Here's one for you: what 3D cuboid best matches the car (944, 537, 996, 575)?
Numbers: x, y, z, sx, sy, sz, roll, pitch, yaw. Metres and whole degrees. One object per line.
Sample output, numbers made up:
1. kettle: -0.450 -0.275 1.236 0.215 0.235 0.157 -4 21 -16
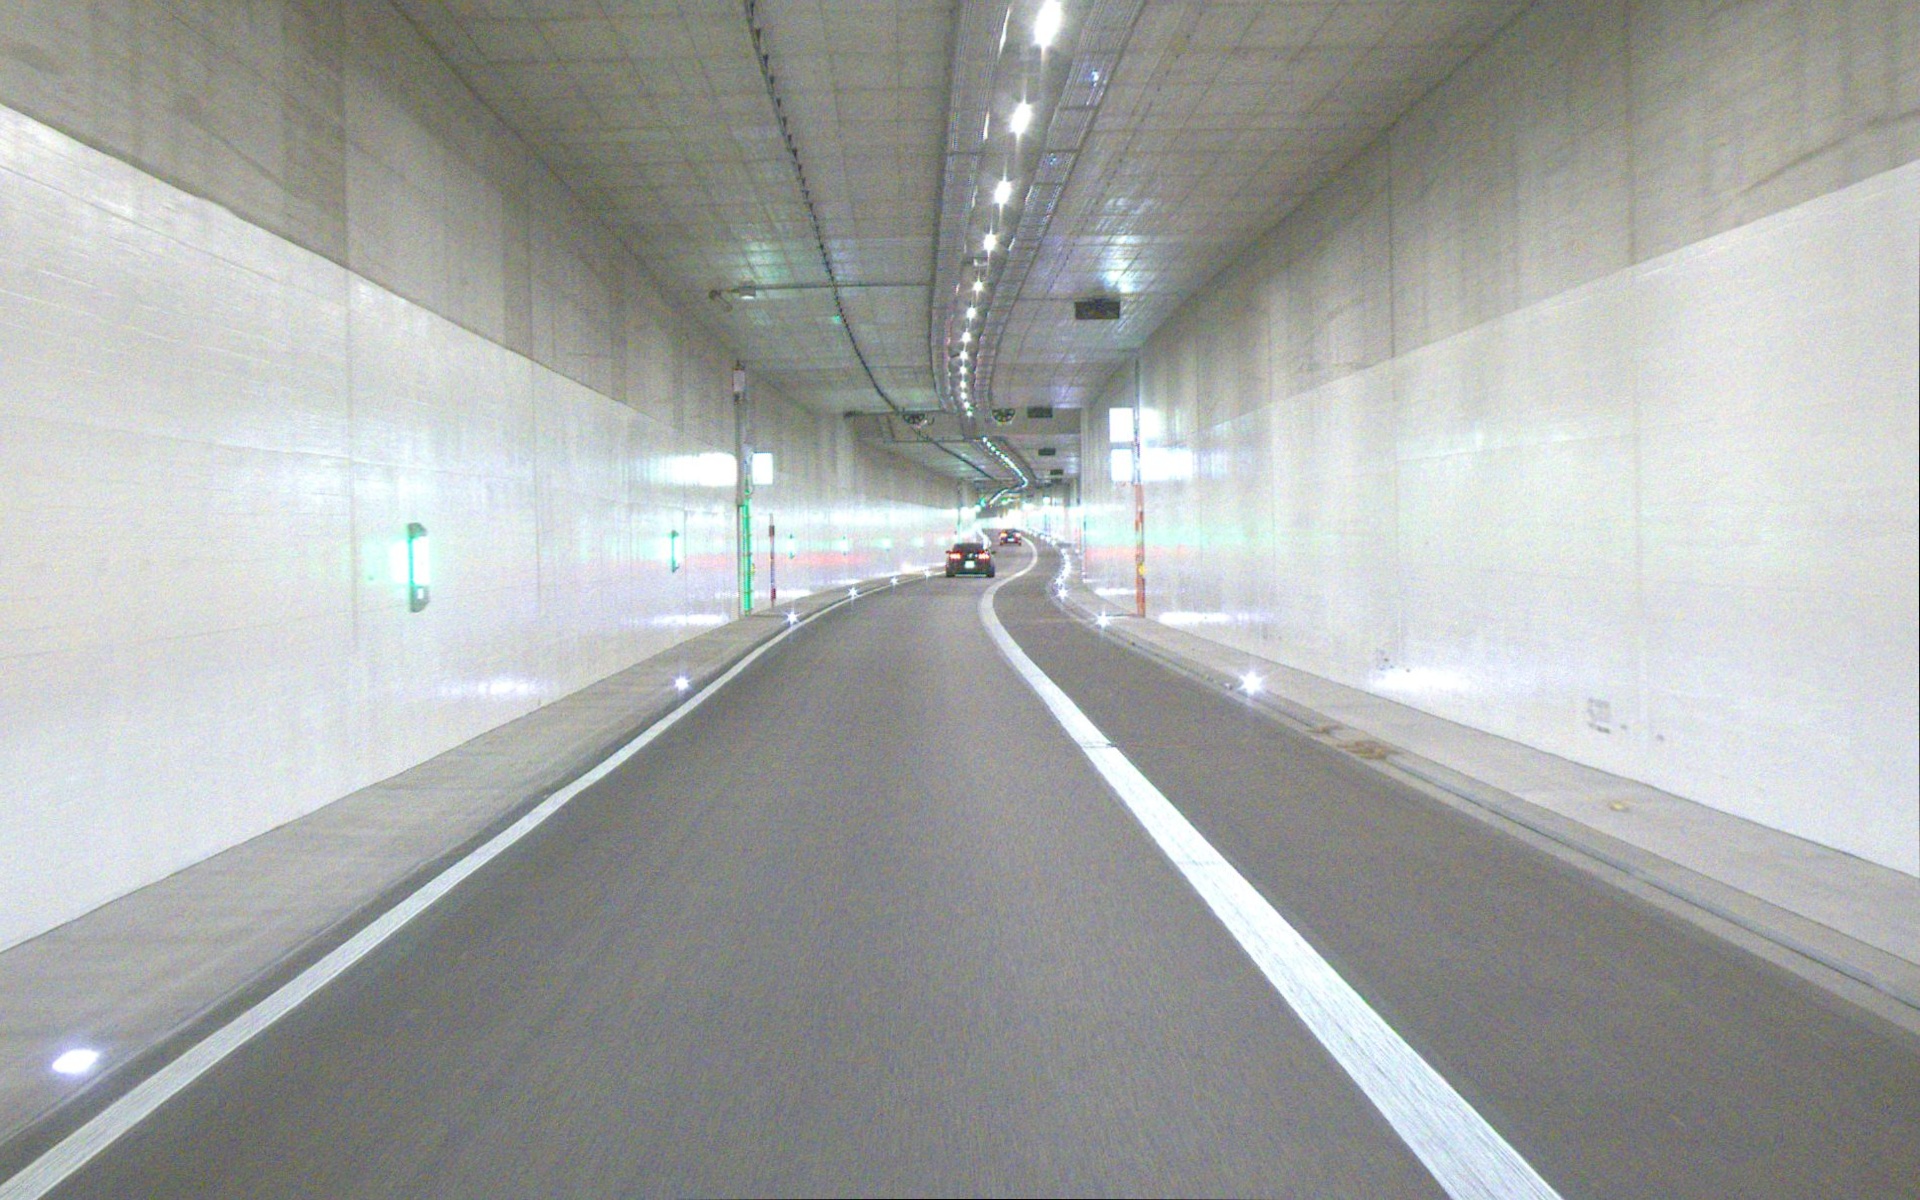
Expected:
1. car: 0.384 -1.744 135.553 1.993 1.415 4.000 2 1 0
